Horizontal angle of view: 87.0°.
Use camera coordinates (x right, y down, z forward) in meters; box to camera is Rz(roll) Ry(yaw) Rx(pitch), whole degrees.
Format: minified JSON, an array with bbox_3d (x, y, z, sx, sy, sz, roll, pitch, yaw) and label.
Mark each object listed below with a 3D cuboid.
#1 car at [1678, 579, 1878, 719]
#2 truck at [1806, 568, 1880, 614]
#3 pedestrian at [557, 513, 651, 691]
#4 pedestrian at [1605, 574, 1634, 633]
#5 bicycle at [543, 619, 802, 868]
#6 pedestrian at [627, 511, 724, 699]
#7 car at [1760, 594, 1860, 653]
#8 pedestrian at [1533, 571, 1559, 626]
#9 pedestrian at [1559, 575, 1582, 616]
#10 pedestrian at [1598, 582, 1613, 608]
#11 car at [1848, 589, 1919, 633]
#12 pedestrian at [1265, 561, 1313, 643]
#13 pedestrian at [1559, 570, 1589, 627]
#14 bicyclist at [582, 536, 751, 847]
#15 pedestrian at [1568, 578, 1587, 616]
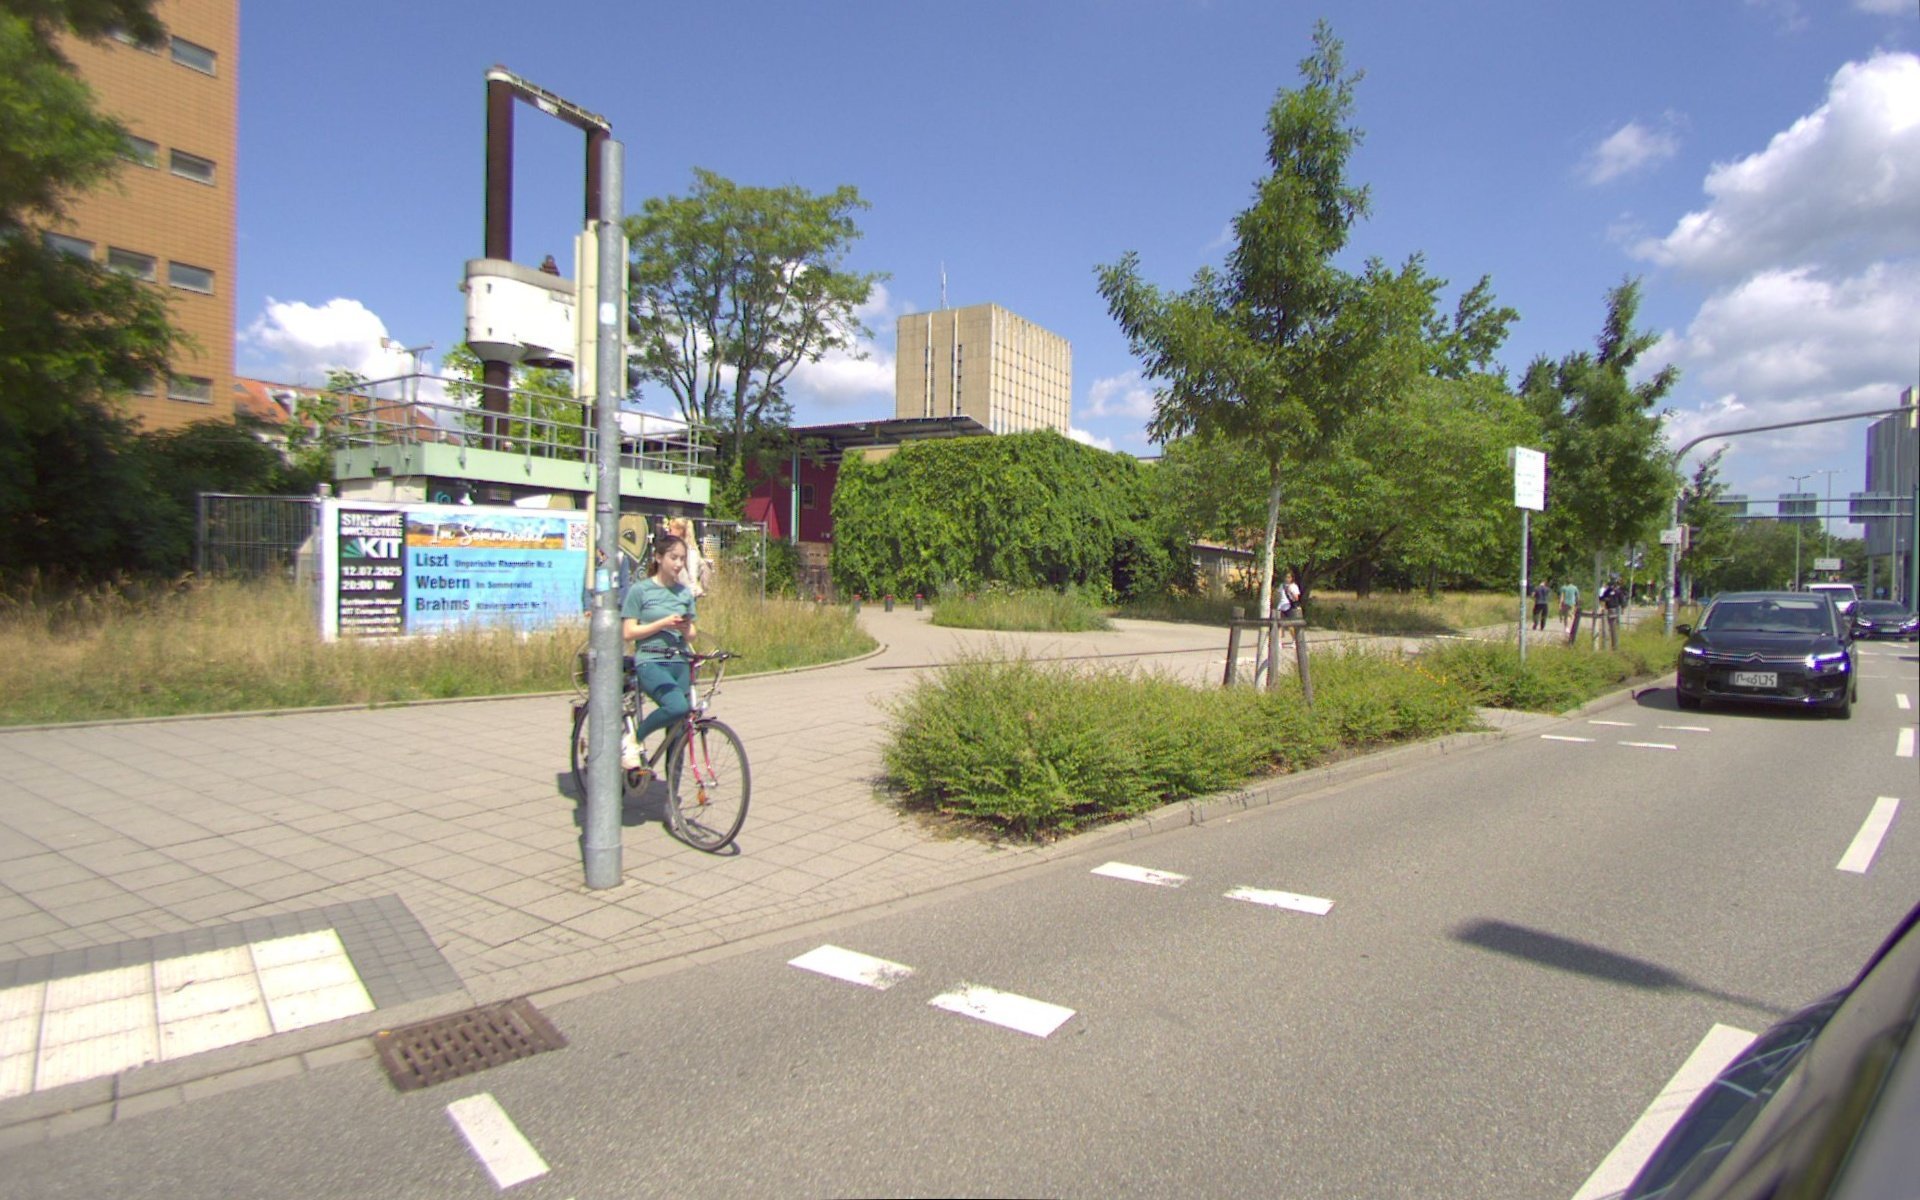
[{"bbox_3d":[11.580,0.575,14.210,1.857,1.643,4.449,-1,0,43],"label":"car"},{"bbox_3d":[47.567,-0.449,54.627,2.448,2.330,5.740,-1,0,36],"label":"truck"},{"bbox_3d":[-3.726,0.002,10.593,0.749,1.774,0.600,4,2,43],"label":"pedestrian"},{"bbox_3d":[20.404,0.093,31.304,0.664,1.771,0.837,3,2,35],"label":"pedestrian"},{"bbox_3d":[-1.717,0.729,5.847,1.810,1.062,0.583,6,5,43],"label":"bicycle"},{"bbox_3d":[-2.894,0.033,10.289,0.749,1.824,0.600,4,2,43],"label":"pedestrian"},{"bbox_3d":[22.545,0.578,26.980,1.756,1.435,4.306,-1,0,36],"label":"car"},{"bbox_3d":[19.307,-0.064,33.363,0.663,1.768,0.603,3,2,30],"label":"pedestrian"},{"bbox_3d":[26.847,-0.205,44.498,0.747,1.771,0.659,3,2,35],"label":"pedestrian"},{"bbox_3d":[44.657,-0.338,70.012,0.839,1.787,0.831,0,1,35],"label":"pedestrian"},{"bbox_3d":[33.739,0.381,36.796,1.742,1.523,4.461,-1,0,36],"label":"car"},{"bbox_3d":[6.778,0.026,20.846,0.745,1.616,0.873,3,2,28],"label":"pedestrian"},{"bbox_3d":[20.082,-0.065,33.108,0.746,1.799,0.872,3,2,30],"label":"pedestrian"},{"bbox_3d":[-1.700,0.463,5.823,0.828,1.620,0.571,5,5,43],"label":"bicyclist"},{"bbox_3d":[29.957,-0.144,49.106,0.664,1.771,0.867,3,2,35],"label":"pedestrian"}]
